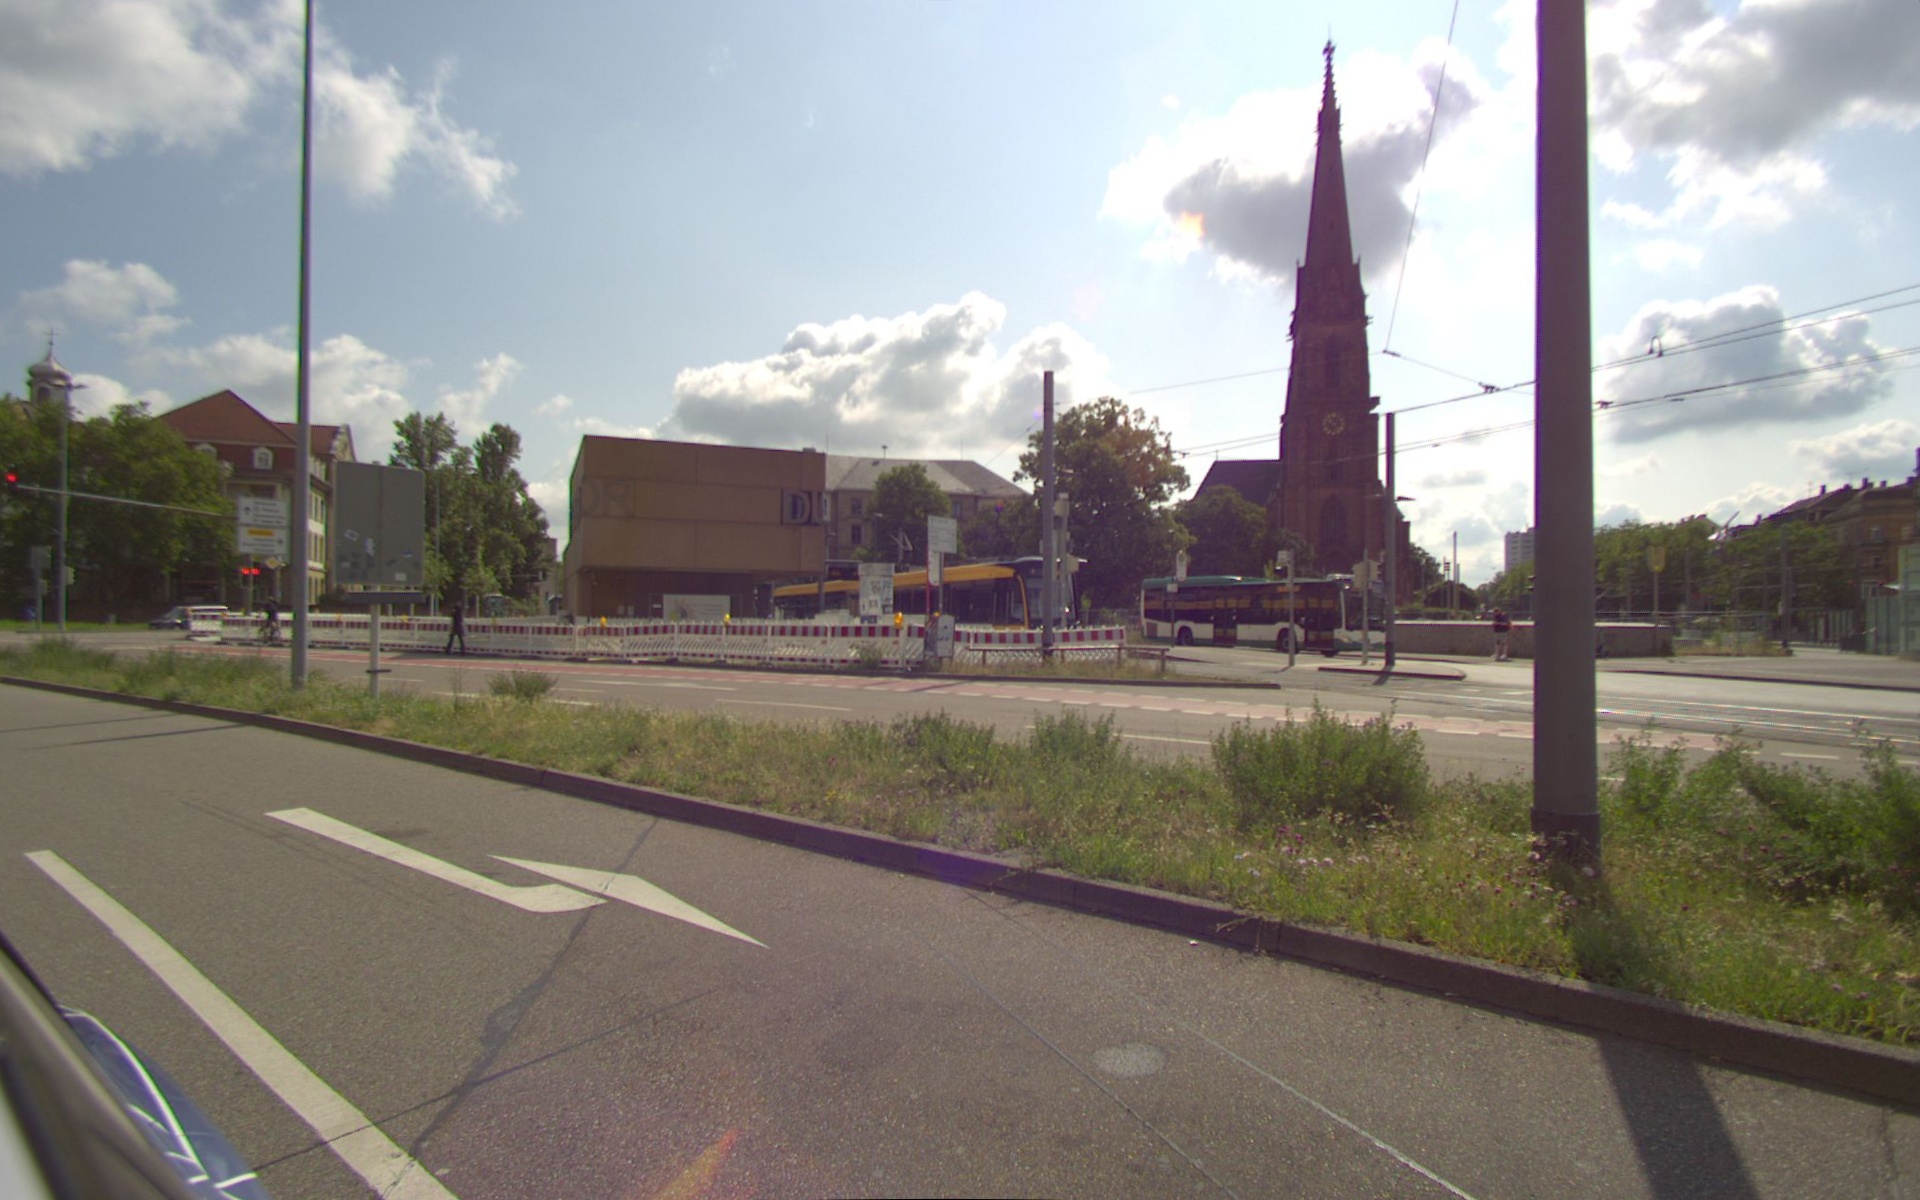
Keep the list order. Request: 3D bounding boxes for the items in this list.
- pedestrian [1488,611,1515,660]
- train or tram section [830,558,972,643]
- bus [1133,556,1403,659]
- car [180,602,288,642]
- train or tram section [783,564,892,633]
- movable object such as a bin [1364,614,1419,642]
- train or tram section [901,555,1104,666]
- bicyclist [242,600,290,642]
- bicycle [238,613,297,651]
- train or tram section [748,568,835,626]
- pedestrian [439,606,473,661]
[{"bbox_3d":[20.556,1.343,38.428,0.708,1.808,0.564,1,-2,-24],"label":"pedestrian"},{"bbox_3d":[-3.054,-0.048,47.312,3.266,3.507,10.644,0,1,-23],"label":"train or tram section"},{"bbox_3d":[12.158,0.393,42.101,2.865,3.648,12.417,1,-2,-28],"label":"bus"},{"bbox_3d":[-34.088,1.048,47.670,3.932,1.796,2.006,1,-1,-31],"label":"car"},{"bbox_3d":[-7.152,-0.139,57.018,3.266,3.507,10.644,0,1,-23],"label":"train or tram section"},{"bbox_3d":[45.329,2.961,106.483,5.109,2.933,1.989,0,-2,17],"label":"movable object such as a bin"},{"bbox_3d":[1.147,0.269,37.472,3.266,3.507,10.644,0,1,-23],"label":"train or tram section"},{"bbox_3d":[-26.375,0.803,38.450,1.768,1.575,0.770,0,-1,29],"label":"bicyclist"},{"bbox_3d":[-26.349,1.199,38.511,2.284,1.421,0.963,0,-1,30],"label":"bicycle"},{"bbox_3d":[-11.305,-0.232,66.859,3.266,3.507,10.644,0,1,-23],"label":"train or tram section"},{"bbox_3d":[-16.569,1.098,33.271,1.000,1.777,0.645,-1,-2,38],"label":"pedestrian"}]
